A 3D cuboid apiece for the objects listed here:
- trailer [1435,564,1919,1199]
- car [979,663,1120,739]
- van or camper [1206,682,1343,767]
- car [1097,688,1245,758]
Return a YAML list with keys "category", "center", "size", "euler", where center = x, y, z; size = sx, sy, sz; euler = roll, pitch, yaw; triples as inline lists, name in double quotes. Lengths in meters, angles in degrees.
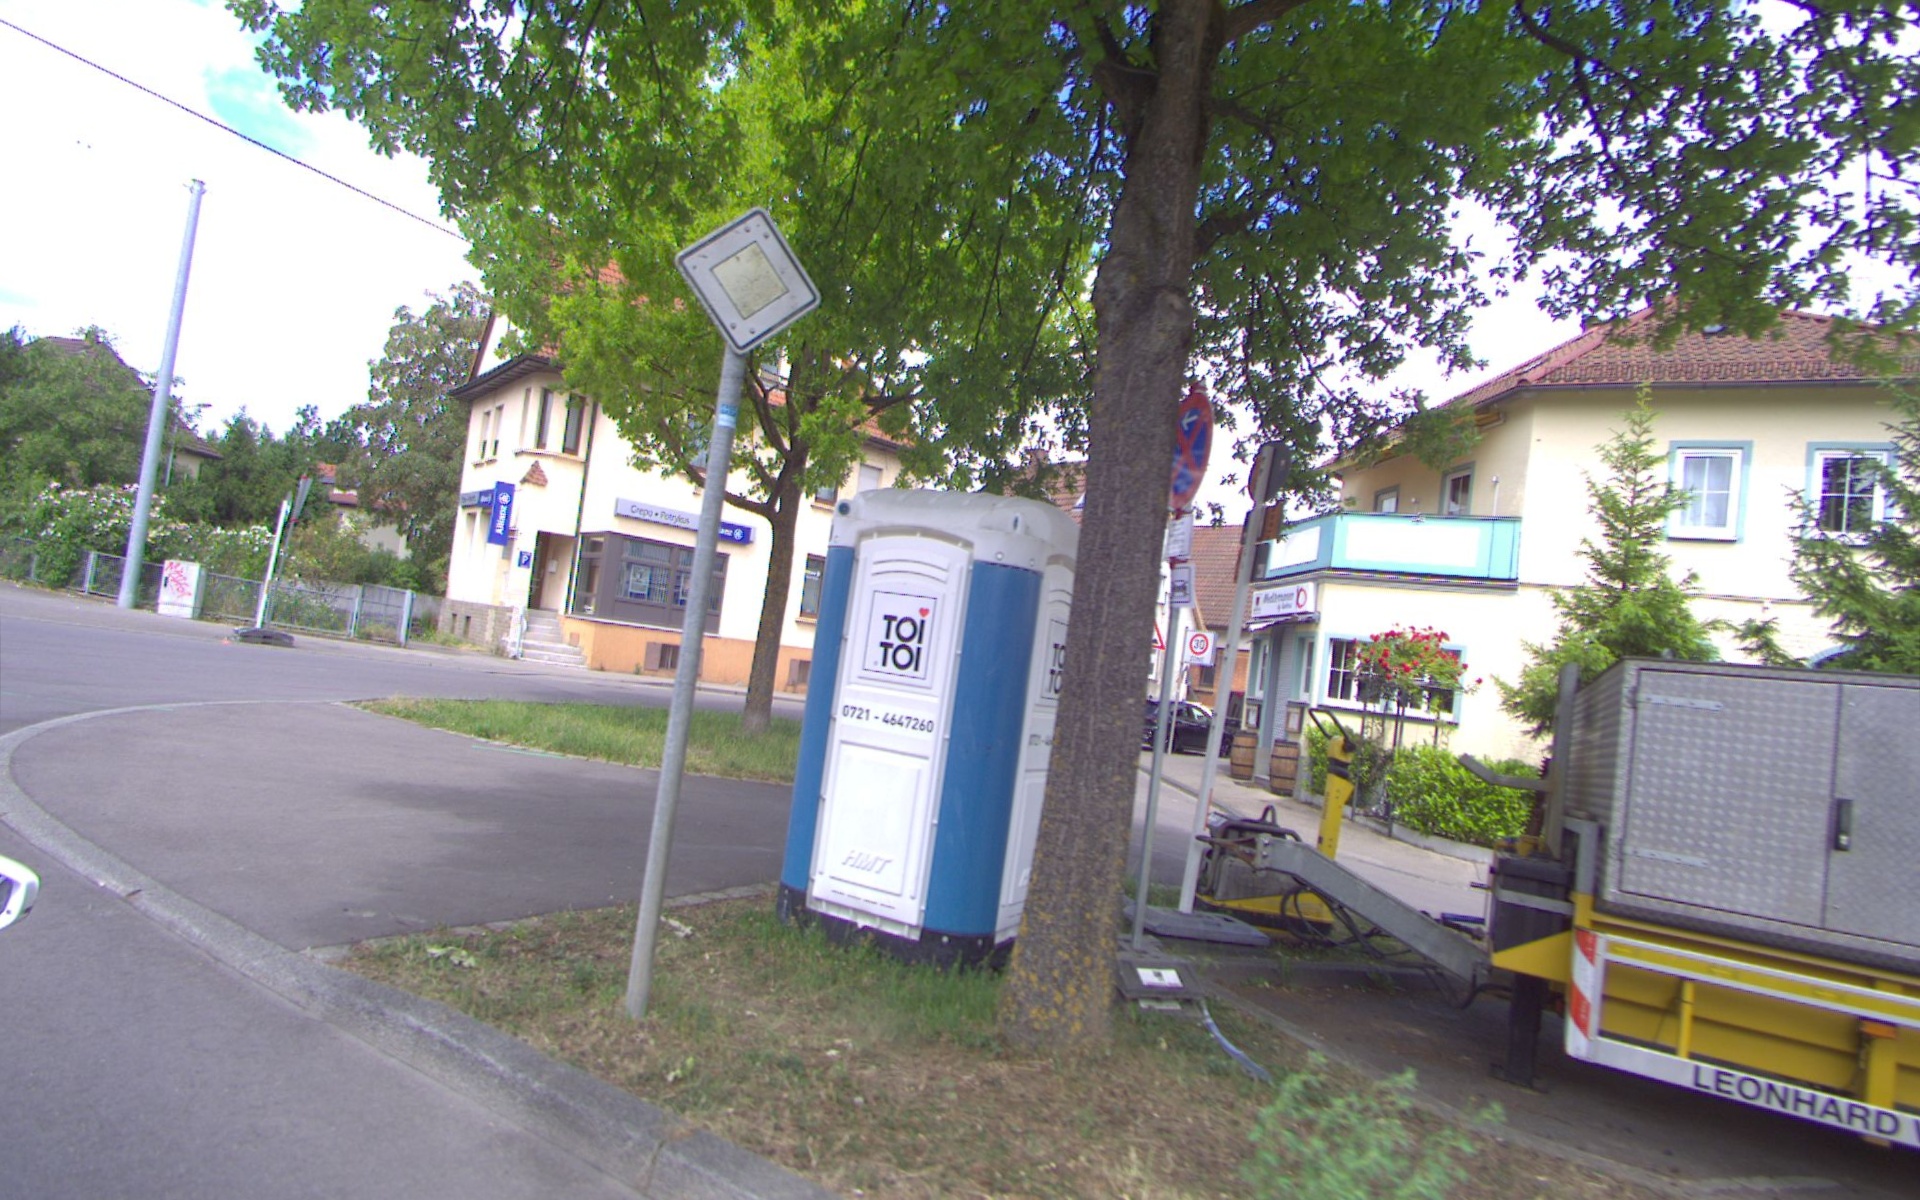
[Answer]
- category: "trailer"
  center: [5.169, 1.441, 4.066]
  size: [5.576, 2.268, 2.603]
  euler: [7, -5, 28]
- category: "car"
  center: [2.679, 2.980, 29.522]
  size: [1.846, 1.642, 3.982]
  euler: [6, -5, 45]
- category: "van or camper"
  center: [9.655, 3.819, 30.718]
  size: [4.062, 2.021, 1.834]
  euler: [11, -3, -38]
- category: "car"
  center: [5.835, 3.402, 27.621]
  size: [3.972, 1.392, 1.696]
  euler: [11, -3, -38]
